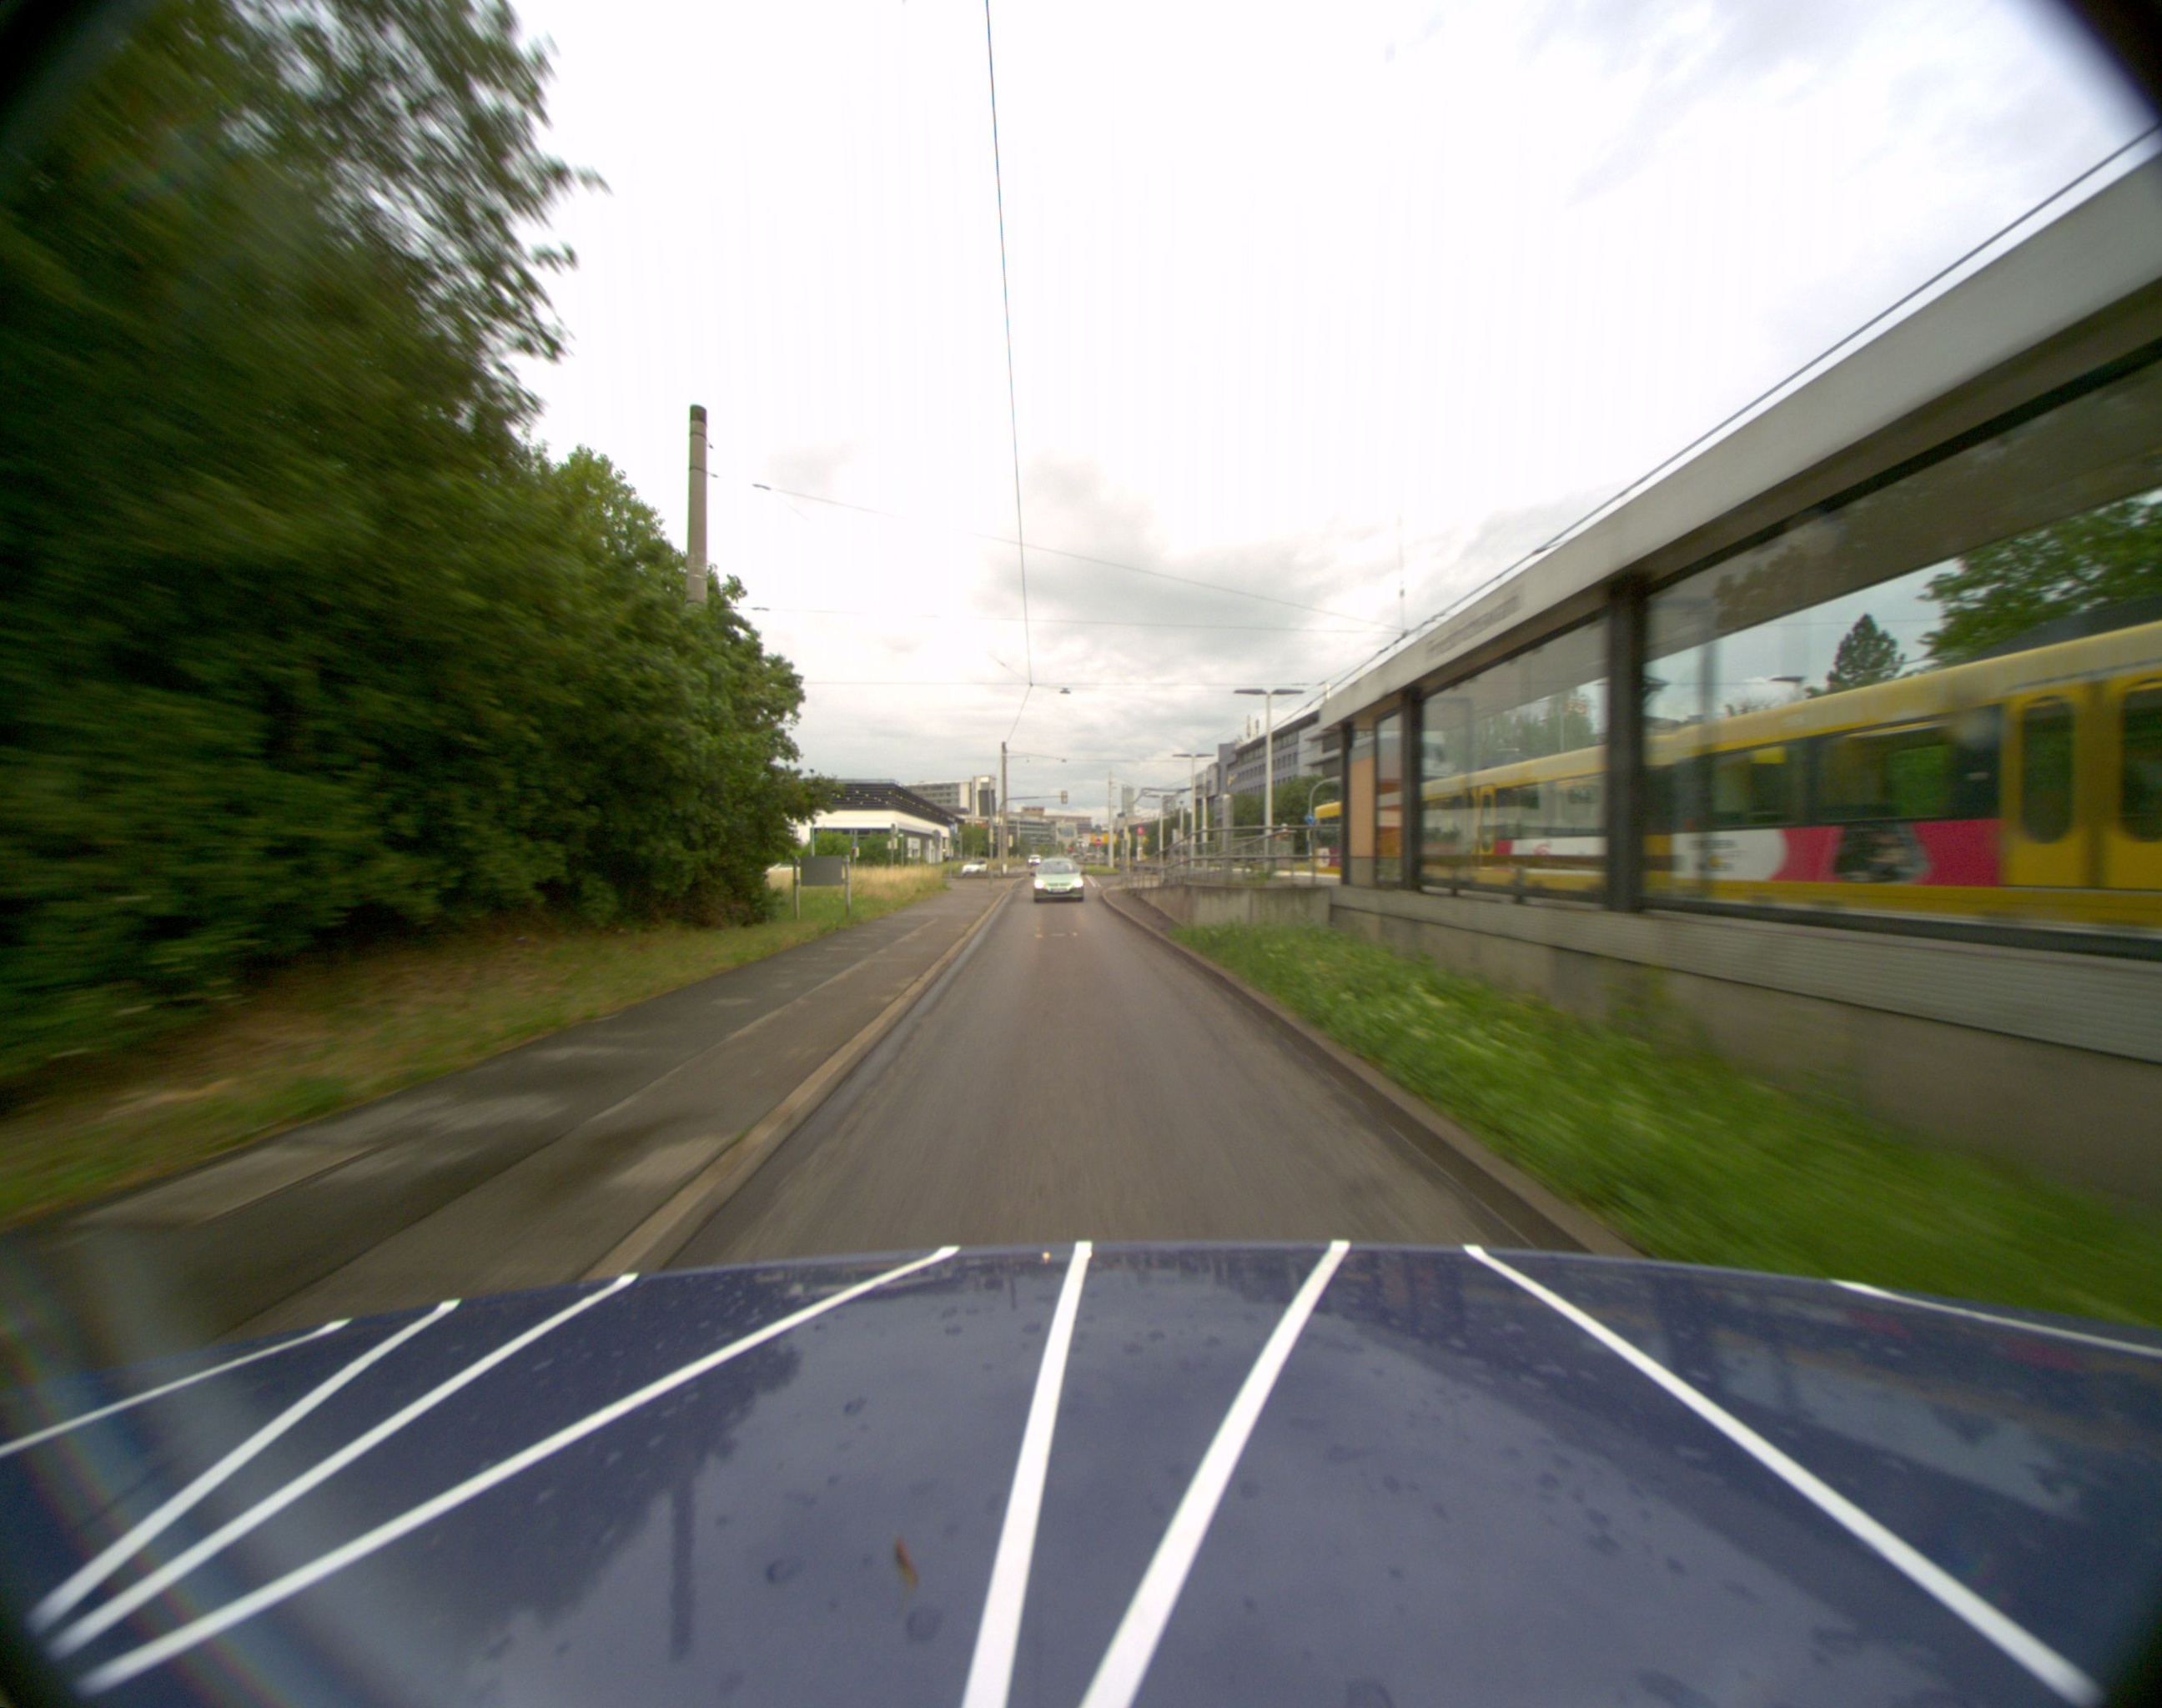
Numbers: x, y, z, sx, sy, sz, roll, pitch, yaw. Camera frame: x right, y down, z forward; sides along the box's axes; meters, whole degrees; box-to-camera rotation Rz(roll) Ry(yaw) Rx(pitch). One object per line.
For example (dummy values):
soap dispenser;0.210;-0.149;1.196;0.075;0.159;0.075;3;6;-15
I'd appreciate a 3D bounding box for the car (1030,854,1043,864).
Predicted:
car;-7.271;0.737;123.549;1.993;1.531;4.108;-1;0;-2

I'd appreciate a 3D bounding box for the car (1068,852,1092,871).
car;-0.050;0.653;67.540;1.998;1.563;4.000;-3;1;2

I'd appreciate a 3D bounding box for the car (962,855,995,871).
car;-10.811;0.947;80.335;1.991;1.531;4.114;-1;1;15

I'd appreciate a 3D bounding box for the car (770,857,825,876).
car;-24.183;1.028;64.810;4.115;1.531;2.037;-1;1;-27

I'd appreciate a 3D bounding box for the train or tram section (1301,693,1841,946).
train or tram section;10.734;-0.659;21.922;2.875;3.950;19.327;-3;1;0

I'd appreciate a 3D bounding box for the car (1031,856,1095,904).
car;-0.560;0.871;27.239;1.779;1.493;4.001;1;1;6

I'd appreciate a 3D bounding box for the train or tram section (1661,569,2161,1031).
train or tram section;10.515;-0.455;2.505;2.875;3.931;19.330;-3;1;2

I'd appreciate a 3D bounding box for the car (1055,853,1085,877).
car;-0.710;0.706;50.882;1.780;1.493;4.000;-1;0;2

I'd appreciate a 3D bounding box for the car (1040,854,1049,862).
car;-7.008;0.738;146.941;1.702;1.429;3.964;-1;0;-2
